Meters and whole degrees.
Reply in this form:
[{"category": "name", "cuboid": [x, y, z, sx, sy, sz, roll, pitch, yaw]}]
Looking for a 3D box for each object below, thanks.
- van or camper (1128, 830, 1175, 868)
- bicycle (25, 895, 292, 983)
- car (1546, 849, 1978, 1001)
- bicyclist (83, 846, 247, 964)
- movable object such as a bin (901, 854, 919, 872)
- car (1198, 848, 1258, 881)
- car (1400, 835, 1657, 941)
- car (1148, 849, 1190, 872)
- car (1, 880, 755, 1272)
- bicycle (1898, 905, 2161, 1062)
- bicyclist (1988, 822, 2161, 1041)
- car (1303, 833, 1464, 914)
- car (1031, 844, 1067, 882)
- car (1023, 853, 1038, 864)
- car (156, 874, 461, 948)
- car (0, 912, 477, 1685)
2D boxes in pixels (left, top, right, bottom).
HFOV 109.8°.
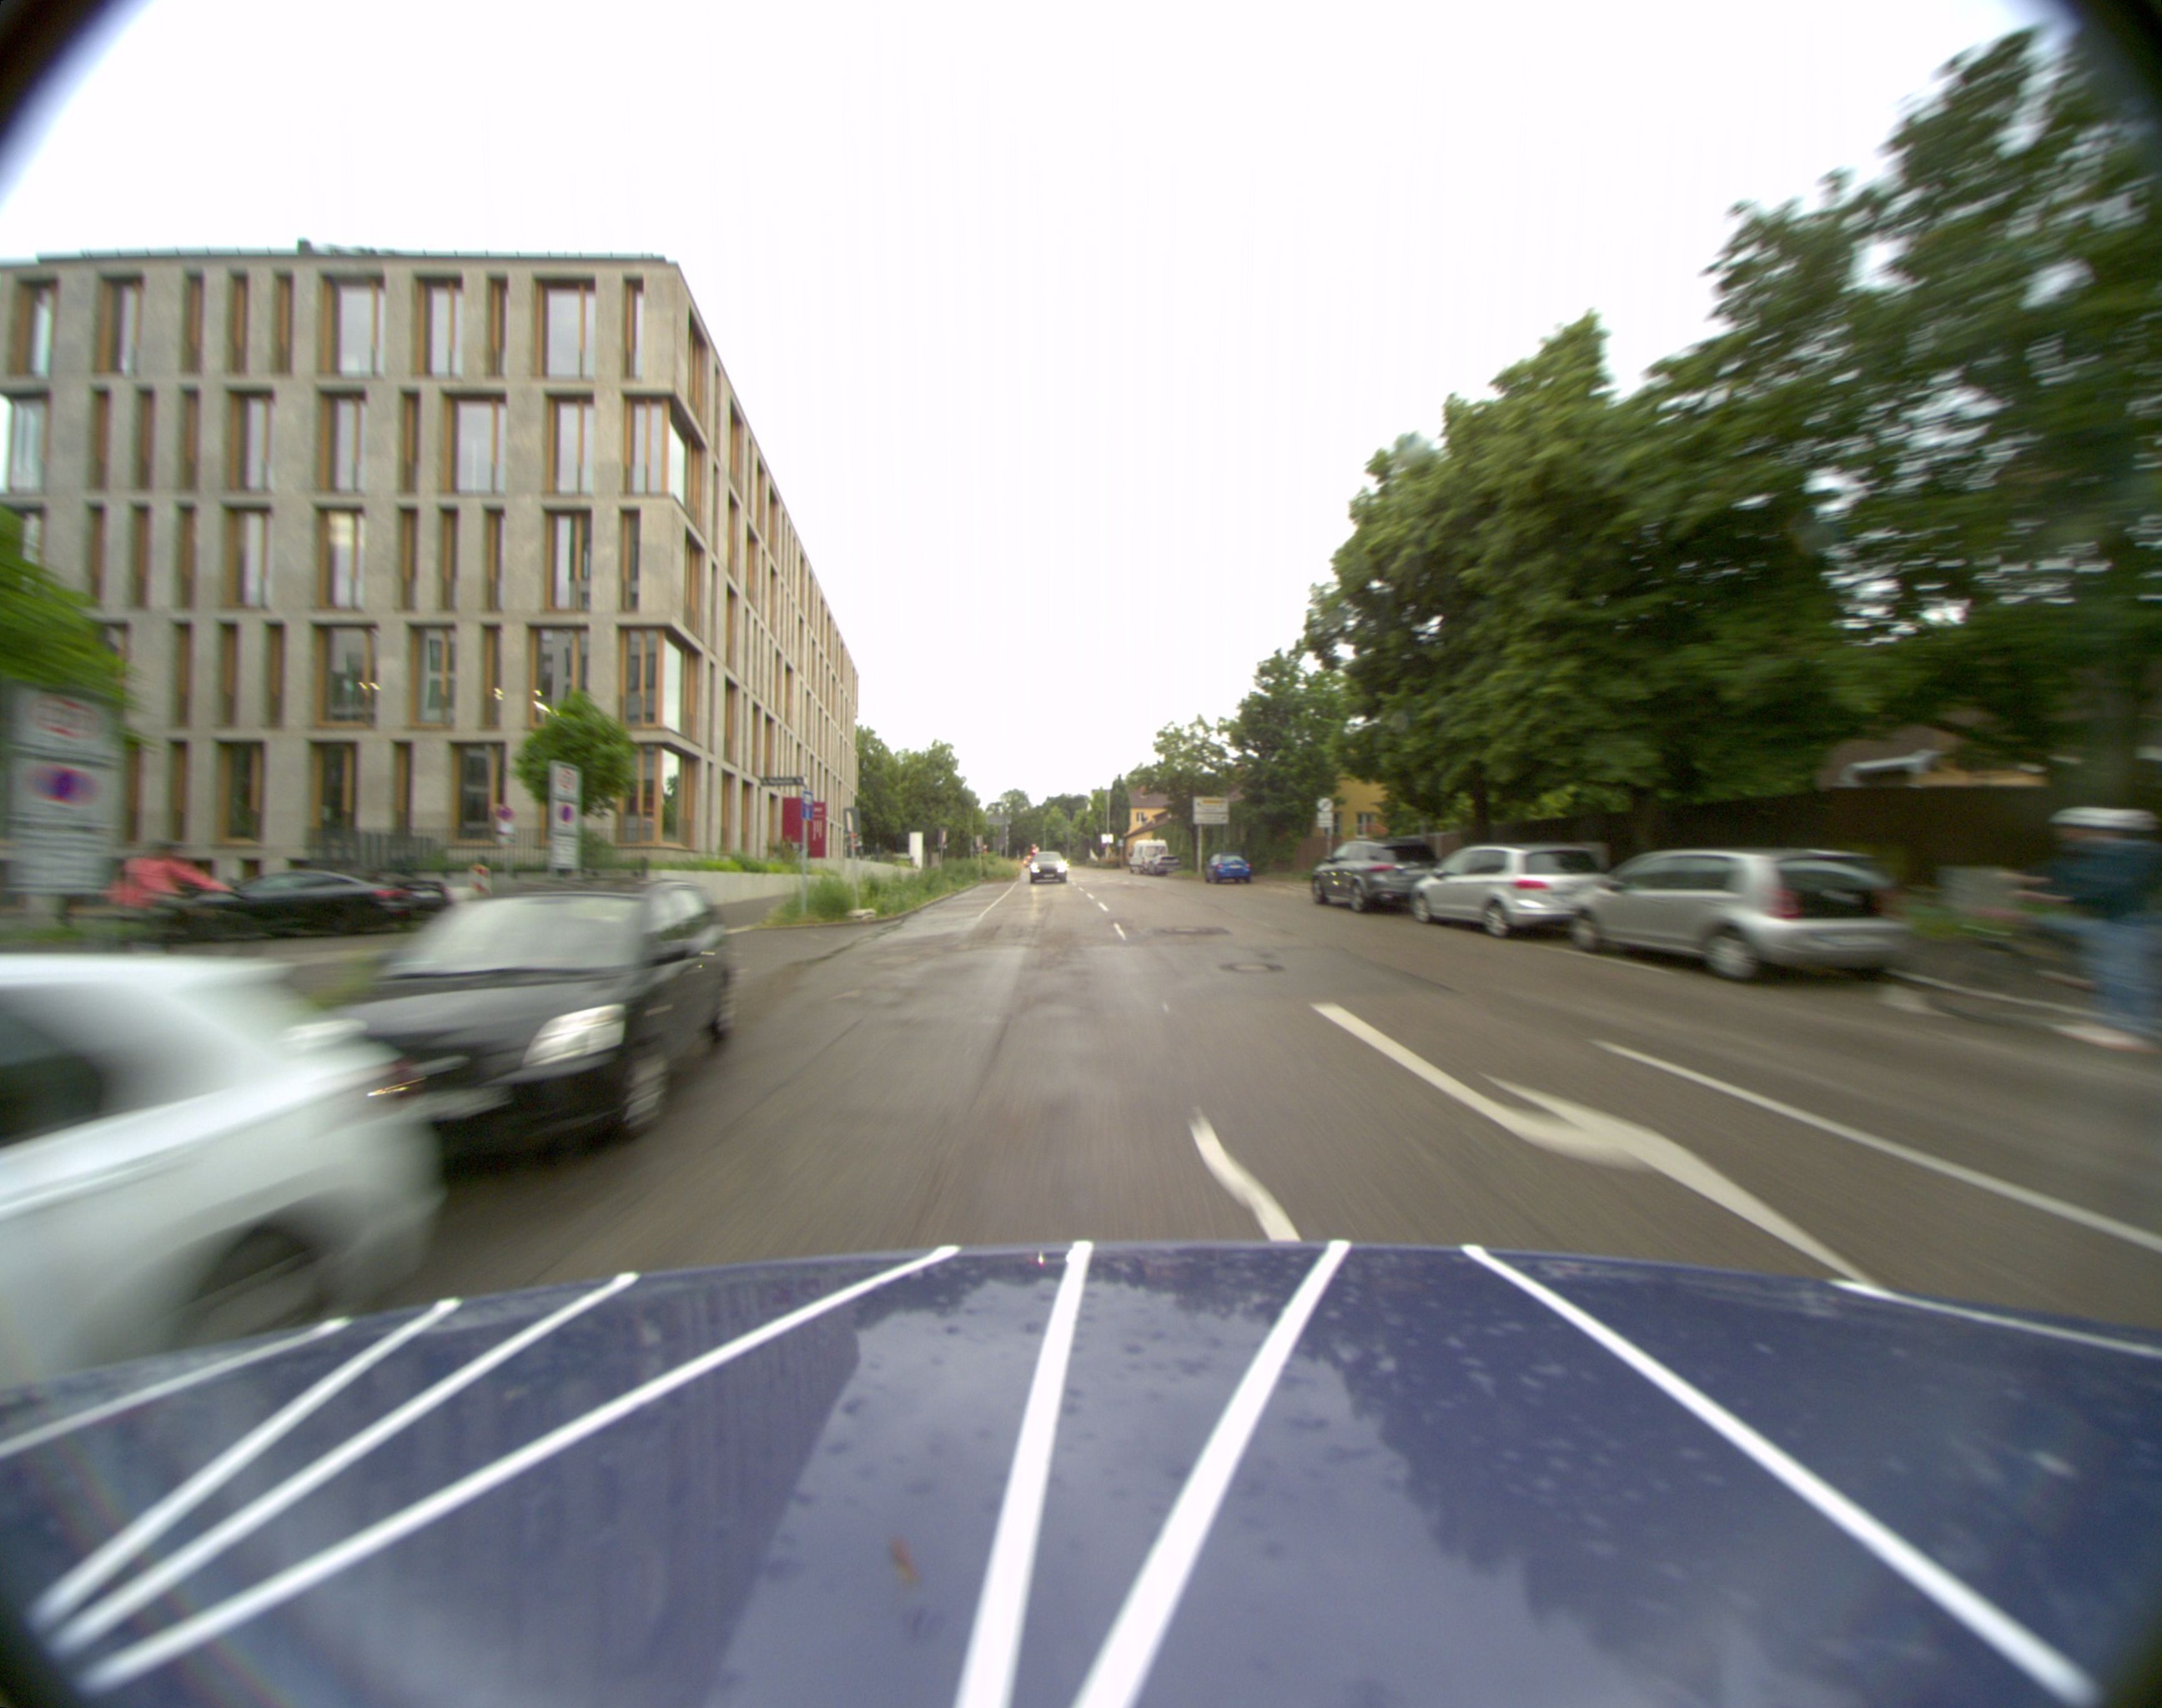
[{"category": "van or camper", "cuboid": [5.331, -0.327, 58.503, 2.347, 2.749, 6.138, -1, 0, -7]}, {"category": "bicycle", "cuboid": [-12.304, 1.114, 10.206, 2.483, 1.014, 0.625, -1, 1, -8]}, {"category": "car", "cuboid": [7.854, 0.685, 9.374, 1.884, 1.454, 3.846, -1, 1, 0]}, {"category": "bicyclist", "cuboid": [-12.237, 0.650, 10.197, 1.076, 1.494, 0.839, -1, 1, -8]}, {"category": "movable object such as a bin", "cuboid": [-15.302, 0.809, 68.103, 1.250, 1.449, 1.111, -4, 1, 0]}, {"category": "car", "cuboid": [7.031, 0.453, 36.771, 1.999, 1.461, 4.185, -1, 1, -1]}, {"category": "car", "cuboid": [7.768, 0.499, 13.827, 1.995, 1.584, 4.489, -1, 1, -1]}, {"category": "car", "cuboid": [6.041, 0.433, 52.442, 1.999, 1.504, 4.420, -1, 1, -5]}, {"category": "car", "cuboid": [-3.840, 0.994, 5.332, 2.051, 1.450, 4.051, -1, 0, -12]}, {"category": "bicycle", "cuboid": [7.722, 0.947, 5.576, 0.806, 0.973, 2.249, -2, 1, -34]}, {"category": "bicyclist", "cuboid": [7.693, 0.531, 5.606, 0.805, 1.514, 1.198, -2, 1, -34]}, {"category": "car", "cuboid": [7.471, 0.409, 19.490, 1.998, 1.776, 5.410, -1, 1, 0]}, {"category": "car", "cuboid": [-1.693, 0.447, 41.793, 1.848, 1.961, 4.343, -1, 1, -1]}, {"category": "car", "cuboid": [-8.091, 0.701, 120.858, 1.901, 1.695, 4.505, -1, 1, -9]}, {"category": "car", "cuboid": [-15.317, 1.104, 15.250, 4.241, 1.237, 1.729, -1, 0, -1]}, {"category": "car", "cuboid": [-3.195, 0.954, 0.457, 2.044, 1.456, 4.502, -1, 0, 0]}]
